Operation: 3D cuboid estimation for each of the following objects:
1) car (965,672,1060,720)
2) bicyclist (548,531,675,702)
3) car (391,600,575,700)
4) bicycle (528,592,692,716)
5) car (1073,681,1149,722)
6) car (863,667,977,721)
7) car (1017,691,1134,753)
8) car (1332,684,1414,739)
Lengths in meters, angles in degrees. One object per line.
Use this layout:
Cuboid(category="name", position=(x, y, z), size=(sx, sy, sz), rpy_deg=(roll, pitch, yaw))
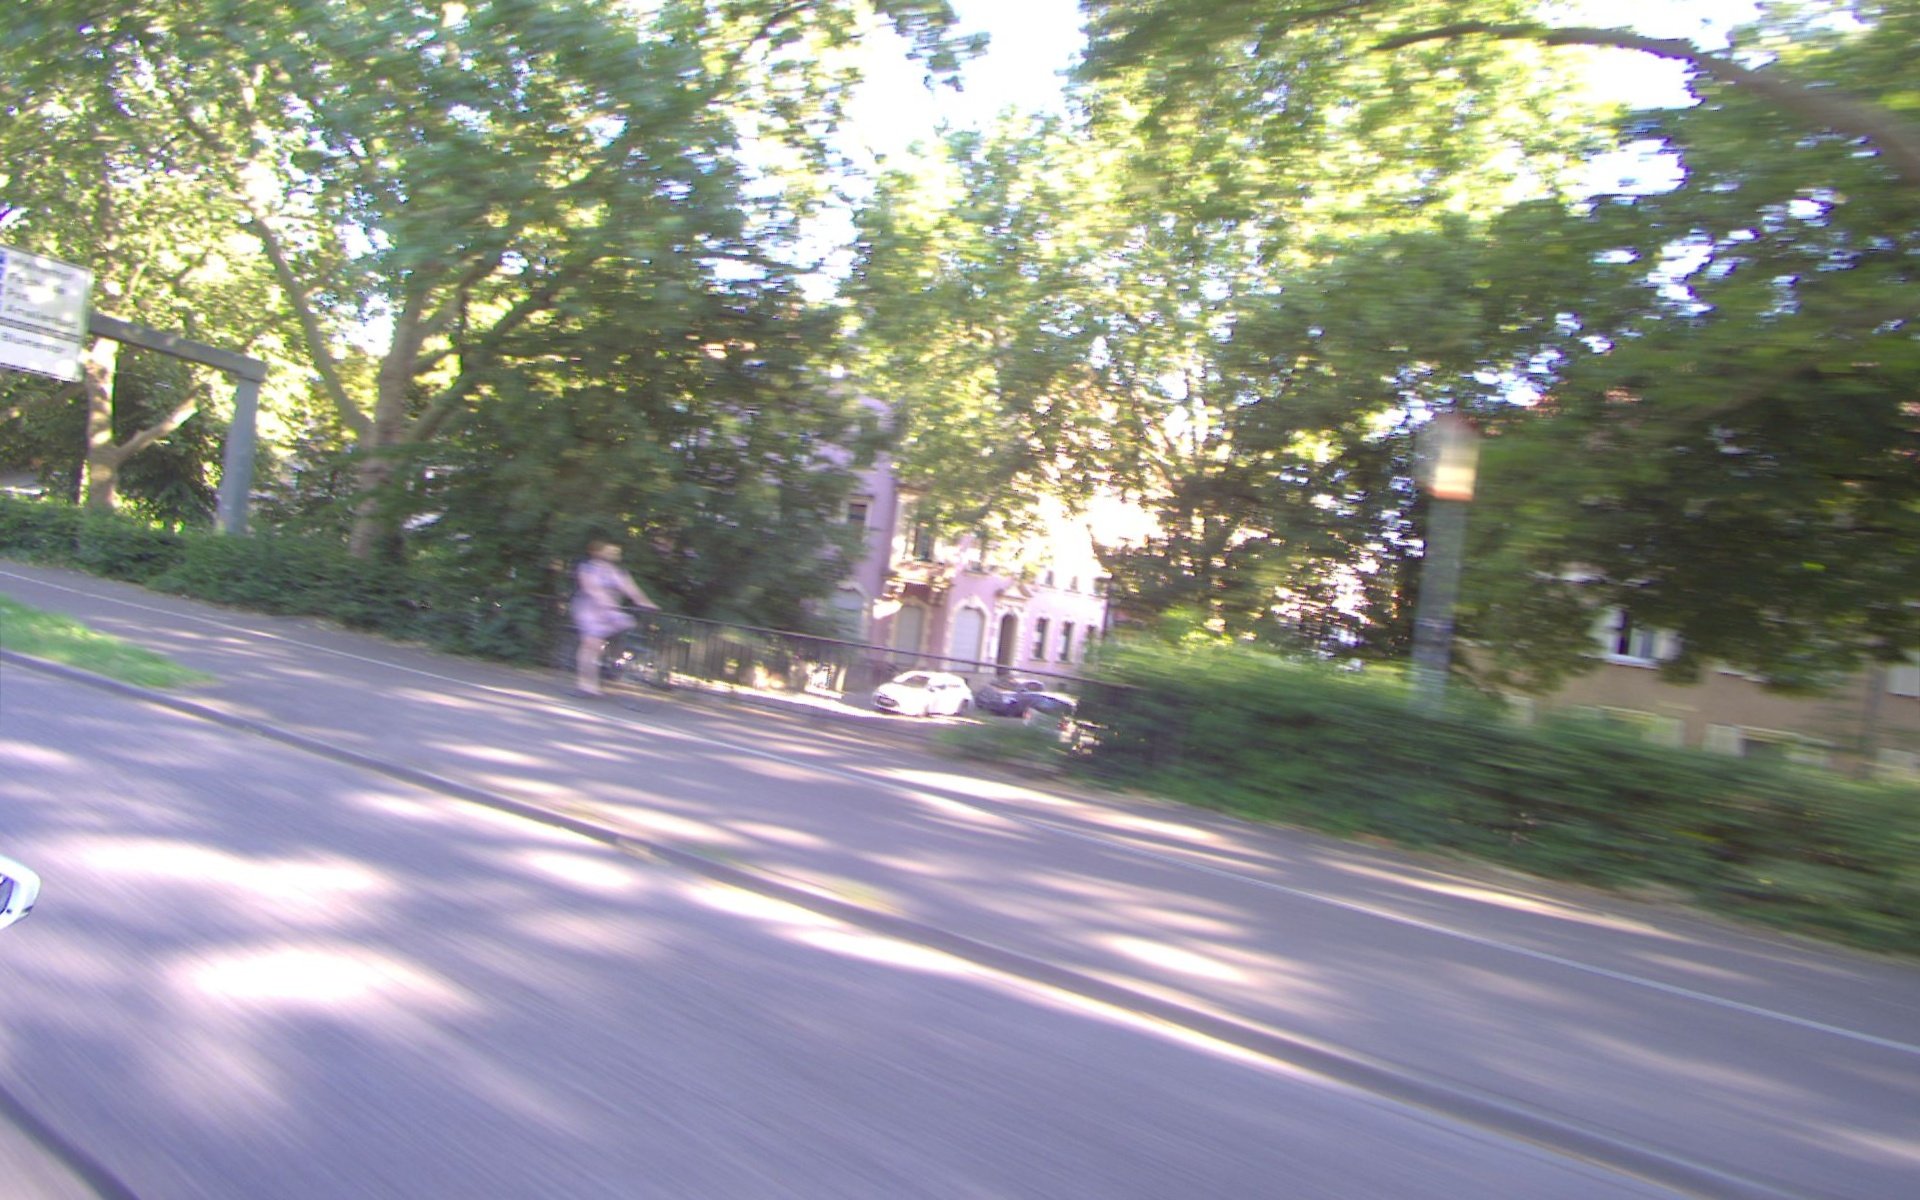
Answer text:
Cuboid(category="car", position=(2.163, 3.826, 40.608), size=(1.771, 1.530, 3.986), rpy_deg=(11, 3, 36))
Cuboid(category="bicyclist", position=(-3.845, 0.176, 11.090), size=(1.064, 1.749, 0.699), rpy_deg=(7, 0, 38))
Cuboid(category="car", position=(-11.489, 1.192, 24.180), size=(4.030, 1.833, 1.908), rpy_deg=(6, -2, 31))
Cuboid(category="bicycle", position=(-3.887, 0.574, 11.086), size=(1.901, 1.121, 0.699), rpy_deg=(6, 0, 38))
Cuboid(category="car", position=(7.222, 4.757, 47.793), size=(1.771, 1.530, 3.986), rpy_deg=(11, 3, 36))
Cuboid(category="car", position=(-1.371, 3.329, 35.993), size=(1.771, 1.530, 4.138), rpy_deg=(11, 3, 36))
Cuboid(category="car", position=(3.802, 3.921, 32.499), size=(1.771, 1.528, 4.142), rpy_deg=(11, 1, 36))
Cuboid(category="car", position=(24.391, 6.604, 59.272), size=(2.497, 2.652, 6.101), rpy_deg=(11, 1, 39))
